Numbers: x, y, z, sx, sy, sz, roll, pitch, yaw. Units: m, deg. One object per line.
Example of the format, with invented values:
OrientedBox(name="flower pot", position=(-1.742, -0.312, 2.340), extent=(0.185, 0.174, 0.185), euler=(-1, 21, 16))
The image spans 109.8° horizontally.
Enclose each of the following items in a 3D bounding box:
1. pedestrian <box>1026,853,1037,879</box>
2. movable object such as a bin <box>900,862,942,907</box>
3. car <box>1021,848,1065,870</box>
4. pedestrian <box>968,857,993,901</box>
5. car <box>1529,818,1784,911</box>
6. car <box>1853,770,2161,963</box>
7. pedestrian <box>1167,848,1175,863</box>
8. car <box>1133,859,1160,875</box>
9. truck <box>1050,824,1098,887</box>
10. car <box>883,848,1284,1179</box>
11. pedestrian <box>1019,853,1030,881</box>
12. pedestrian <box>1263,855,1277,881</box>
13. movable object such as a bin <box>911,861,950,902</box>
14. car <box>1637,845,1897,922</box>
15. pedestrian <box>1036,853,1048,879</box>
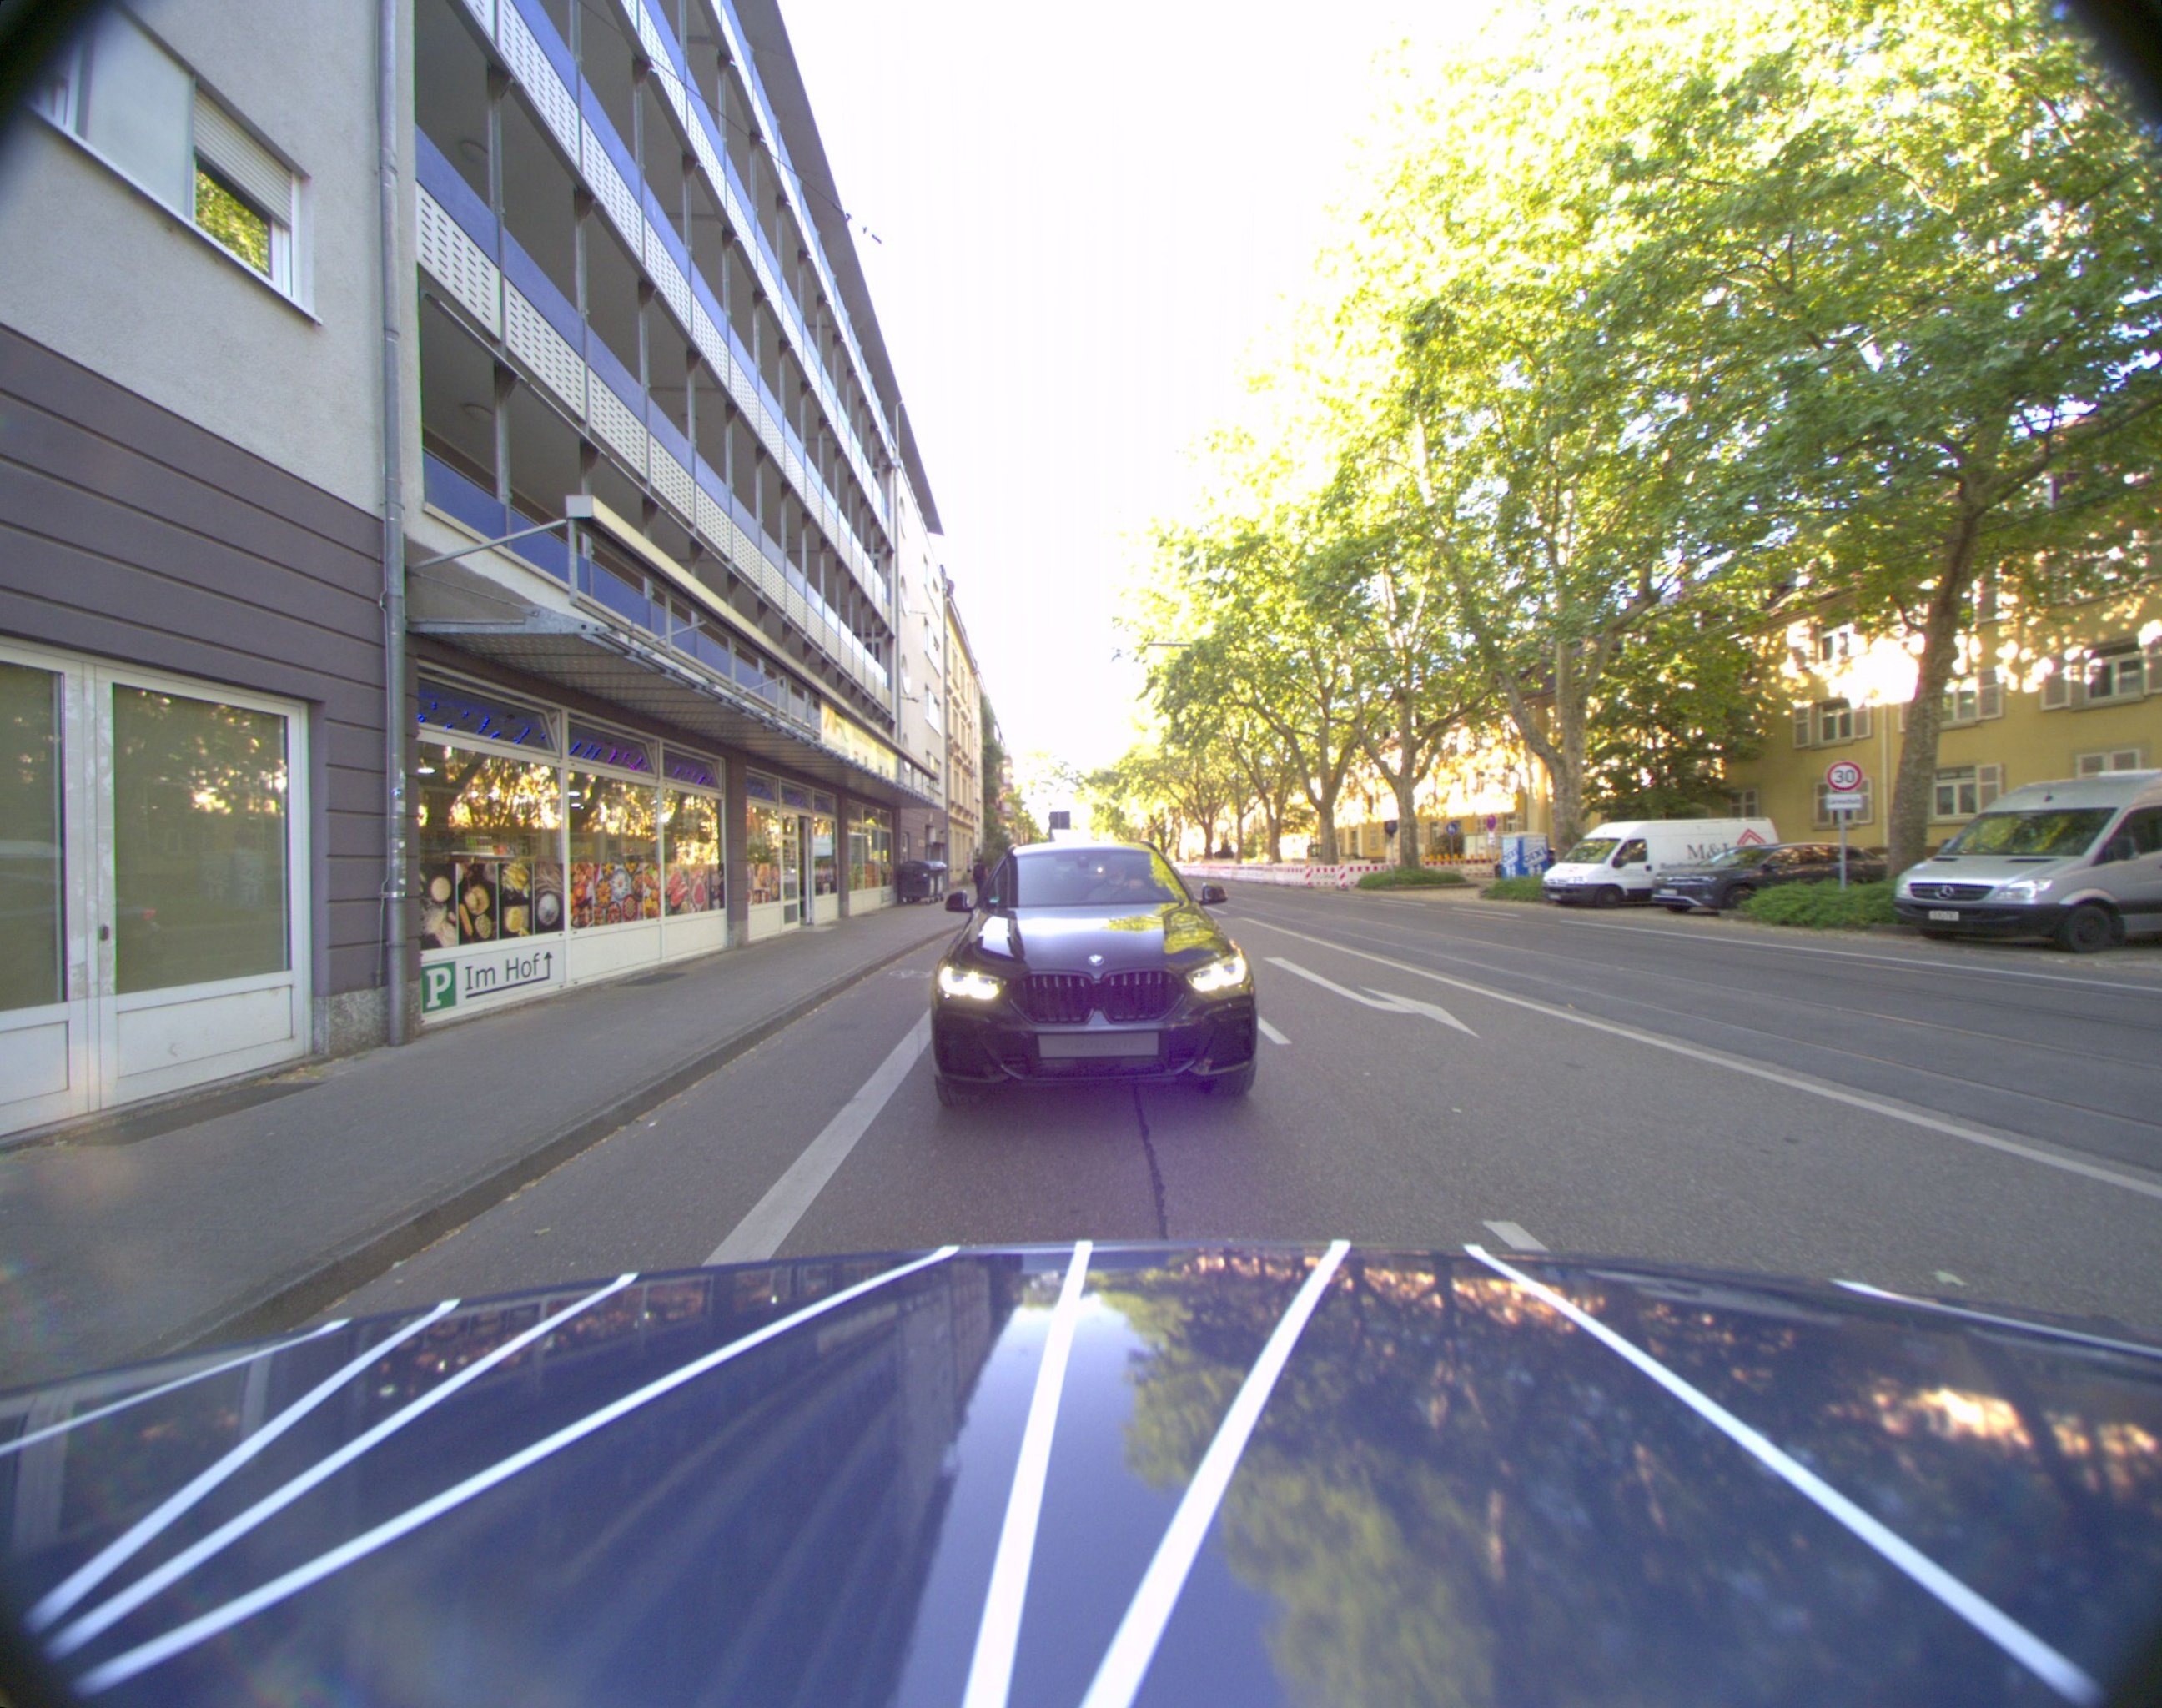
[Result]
OrientedBox(name="pedestrian", position=(-3.644, 0.878, 56.174), extent=(0.733, 1.875, 0.664), euler=(-2, 1, -1))
OrientedBox(name="movable object such as a bin", position=(-5.181, 0.974, 24.662), extent=(1.158, 1.418, 0.939), euler=(-1, 0, 1))
OrientedBox(name="car", position=(-4.722, 0.572, 94.941), extent=(4.992, 2.593, 2.180), euler=(-1, 0, -18))
OrientedBox(name="pedestrian", position=(-3.671, 0.896, 27.869), extent=(0.864, 1.582, 0.622), euler=(-1, 0, -5))
OrientedBox(name="car", position=(15.844, 0.289, 21.163), extent=(5.404, 2.362, 2.223), euler=(-1, 0, 0))
OrientedBox(name="car", position=(15.984, 0.128, 11.873), extent=(5.666, 2.666, 2.223), euler=(-2, 0, -2))
OrientedBox(name="pedestrian", position=(11.170, 0.151, 94.328), extent=(0.731, 1.875, 0.666), euler=(-1, 2, 40))
OrientedBox(name="car", position=(6.486, 1.251, 75.374), extent=(2.022, 1.556, 4.490), euler=(-1, 0, -3))
OrientedBox(name="truck", position=(-0.315, 0.118, 42.115), extent=(2.394, 3.170, 6.587), euler=(-1, 0, 1))
OrientedBox(name="car", position=(0.040, 0.815, 5.988), extent=(1.998, 1.643, 4.295), euler=(-1, 0, 1))
OrientedBox(name="pedestrian", position=(-3.846, 0.856, 51.572), extent=(0.600, 1.875, 0.581), euler=(-2, 1, -1))
OrientedBox(name="pedestrian", position=(12.640, 0.950, 50.836), extent=(0.584, 1.735, 0.650), euler=(-3, 2, -40))
OrientedBox(name="movable object such as a bin", position=(-5.283, 0.950, 26.701), extent=(1.158, 1.418, 0.939), euler=(-1, 0, 1))
OrientedBox(name="car", position=(16.077, 0.657, 17.956), extent=(4.627, 1.642, 1.774), euler=(-1, 0, -2))
OrientedBox(name="pedestrian", position=(-2.869, 0.894, 55.793), extent=(0.733, 1.875, 0.664), euler=(-2, 1, -1))
